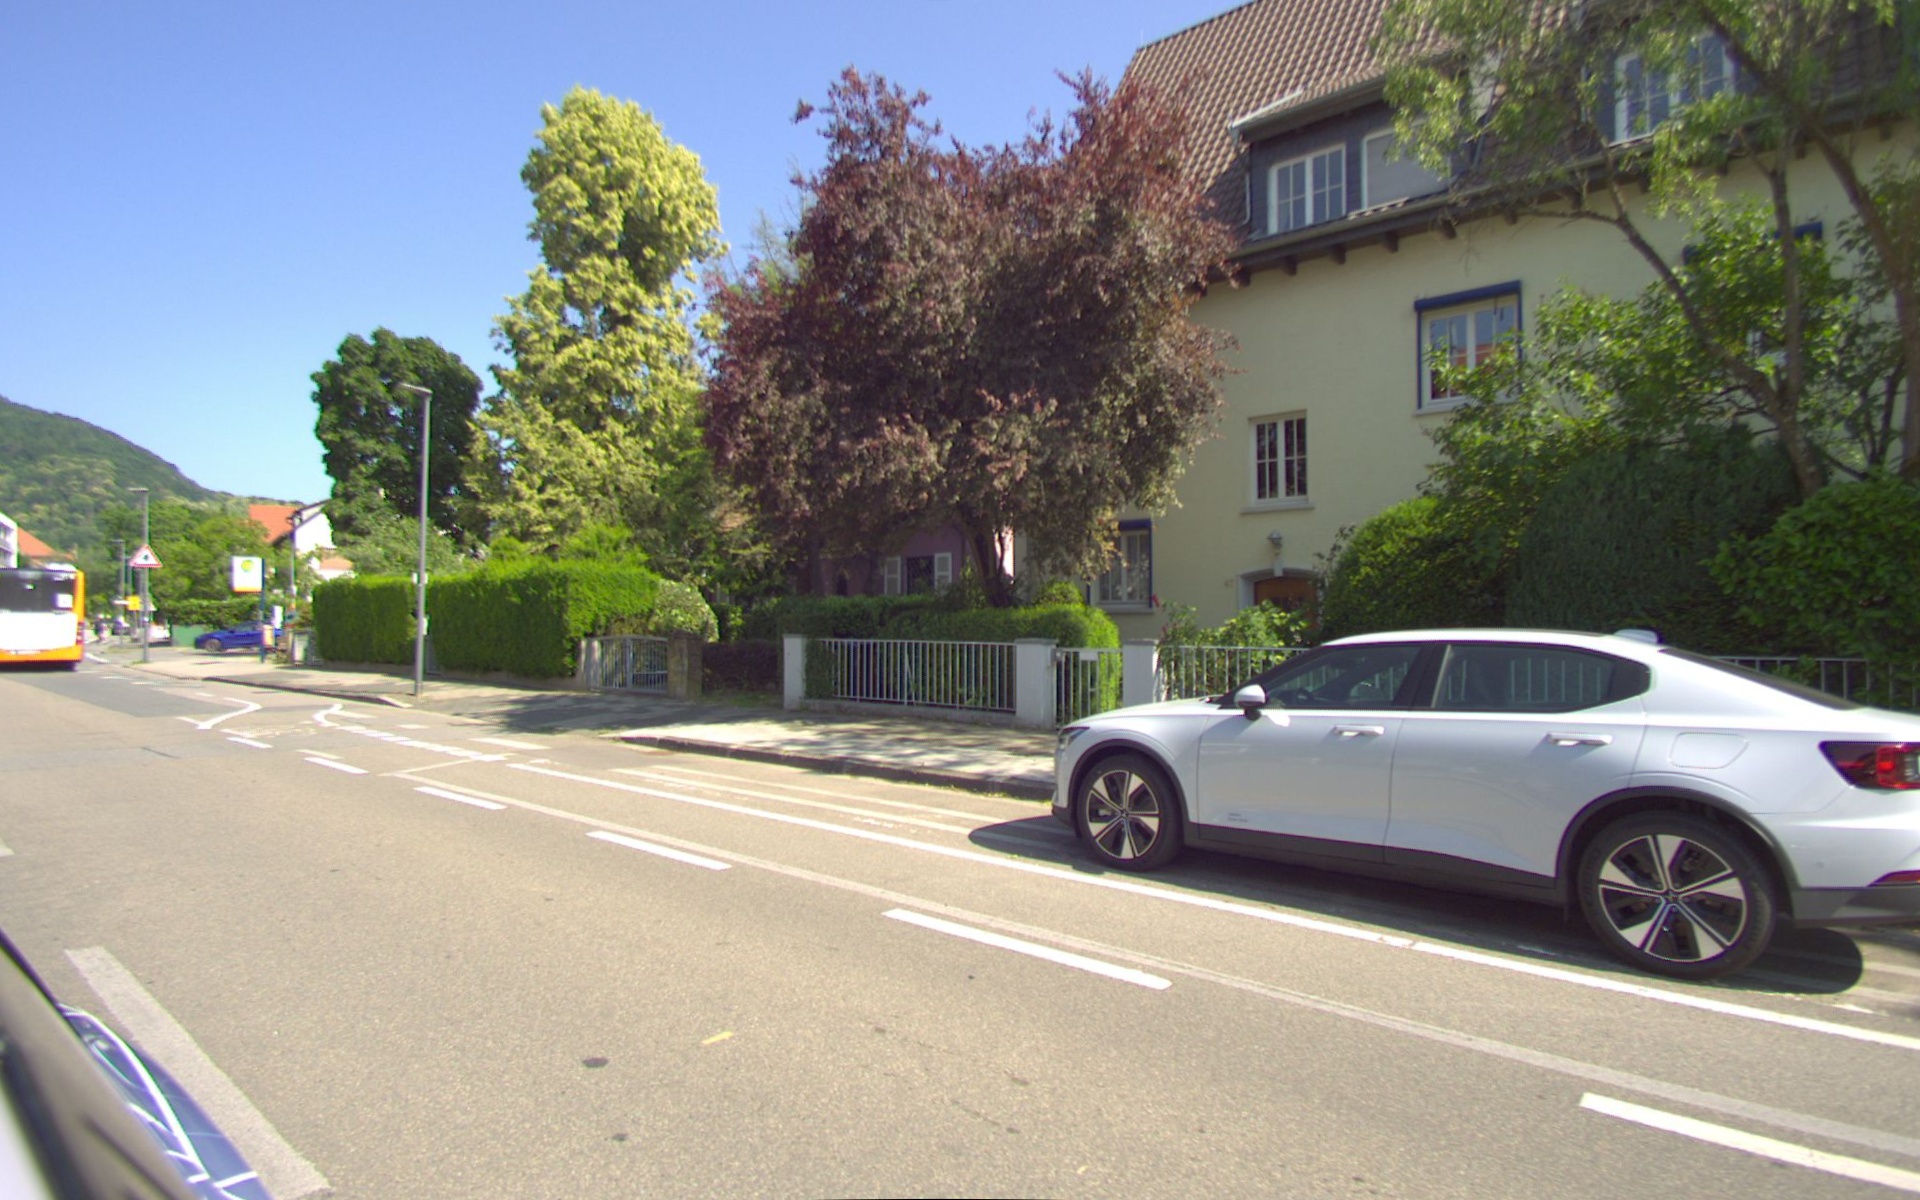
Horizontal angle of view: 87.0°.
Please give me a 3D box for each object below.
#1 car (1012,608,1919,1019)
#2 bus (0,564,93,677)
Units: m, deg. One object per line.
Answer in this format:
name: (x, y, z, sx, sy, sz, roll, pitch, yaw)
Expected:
car: (2.648, 0.859, 5.664, 4.559, 1.497, 1.814, -1, -4, 41)
bus: (-30.211, 0.695, 32.479, 9.782, 3.199, 2.714, -2, -4, 45)
